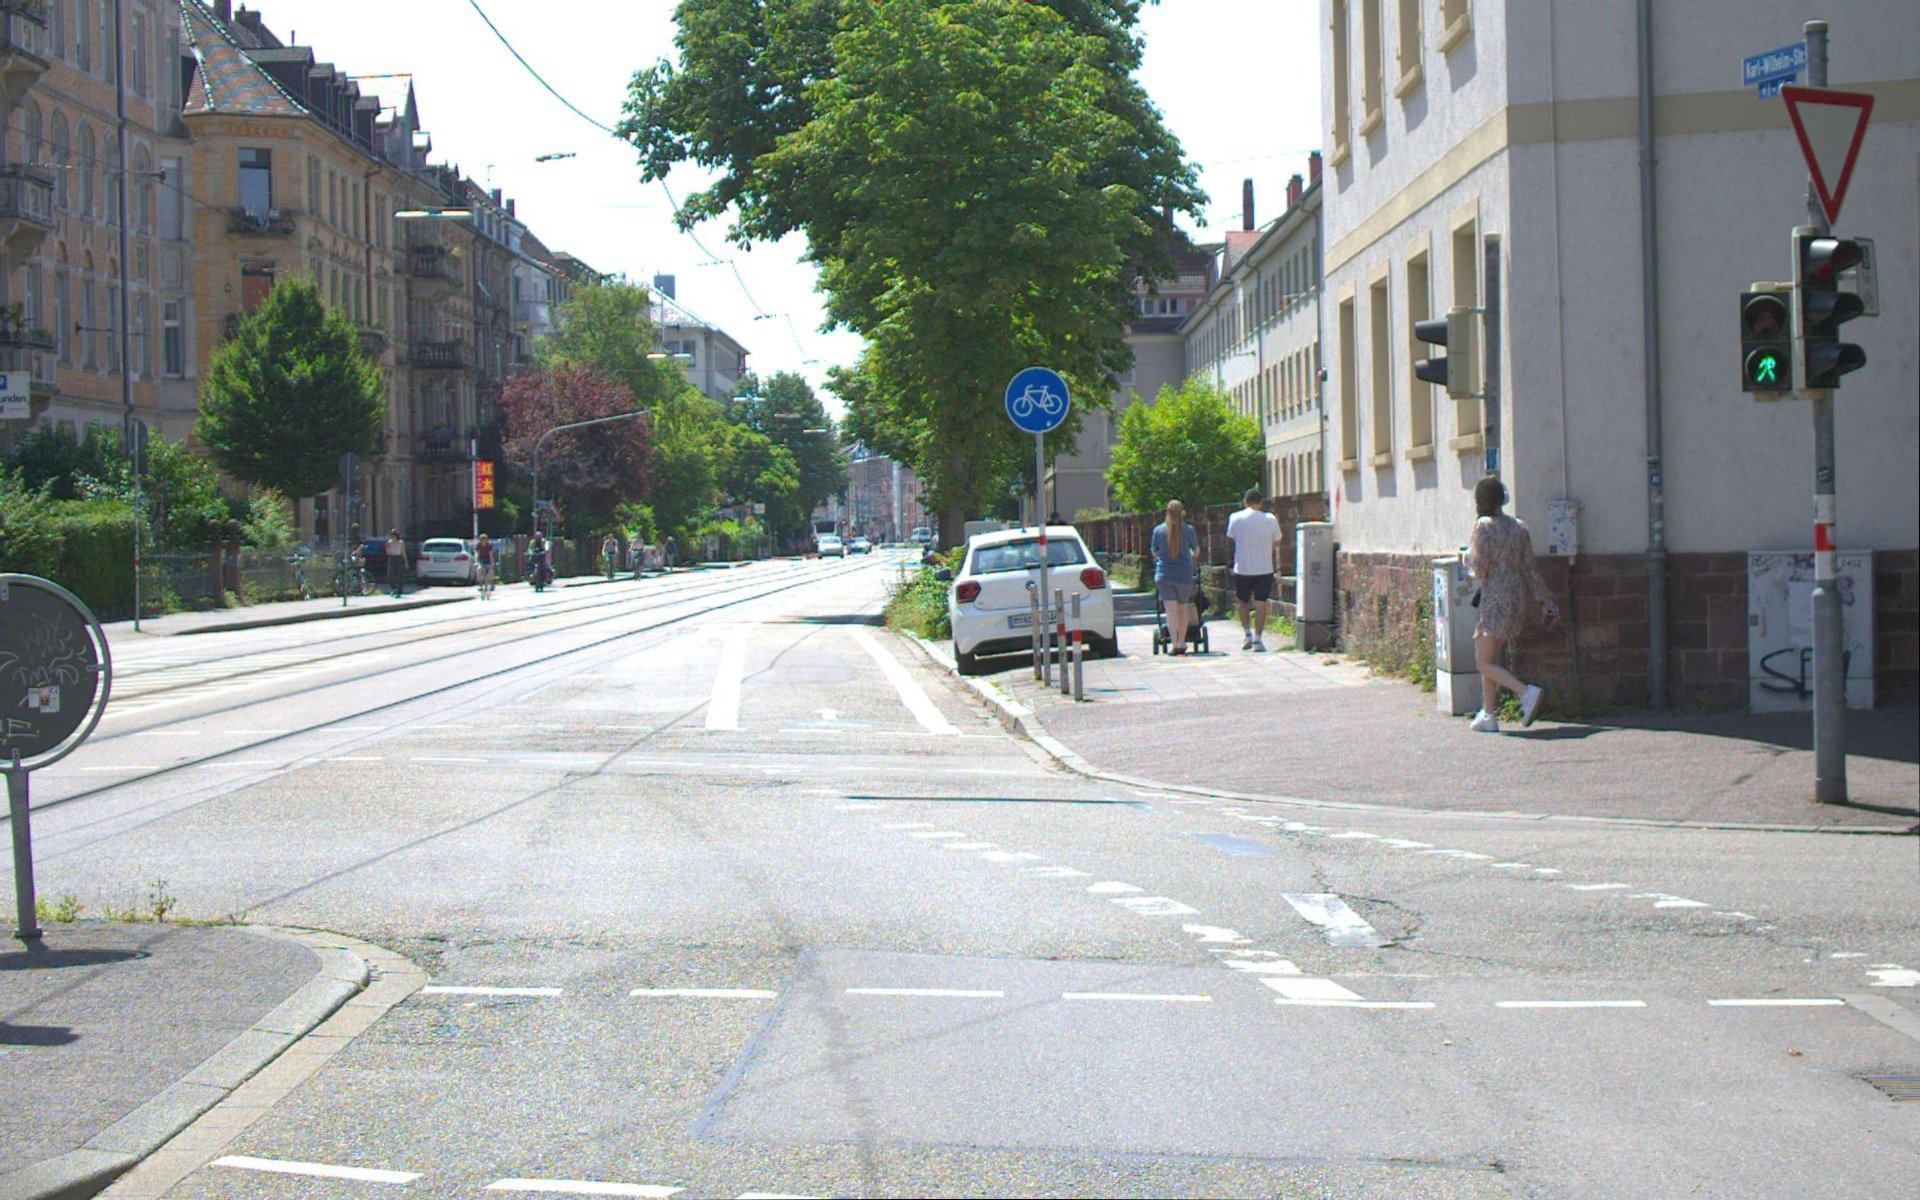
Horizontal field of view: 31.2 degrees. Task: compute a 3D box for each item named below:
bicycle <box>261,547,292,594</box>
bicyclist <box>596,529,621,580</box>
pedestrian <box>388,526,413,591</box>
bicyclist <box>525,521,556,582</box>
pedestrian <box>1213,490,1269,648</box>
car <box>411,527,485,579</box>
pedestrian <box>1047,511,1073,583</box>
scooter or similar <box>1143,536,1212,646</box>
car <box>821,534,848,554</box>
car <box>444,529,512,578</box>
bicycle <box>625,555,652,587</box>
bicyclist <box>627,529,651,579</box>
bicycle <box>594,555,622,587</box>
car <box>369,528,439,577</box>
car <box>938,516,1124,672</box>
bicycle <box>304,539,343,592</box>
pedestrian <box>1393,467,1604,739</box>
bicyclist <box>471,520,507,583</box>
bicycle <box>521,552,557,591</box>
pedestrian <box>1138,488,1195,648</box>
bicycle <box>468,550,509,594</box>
[{"bbox_3d":[-15.911,-0.700,80.035,0.677,1.061,1.919,-1,1,-11],"label":"bicycle"},{"bbox_3d":[-12.704,-1.634,124.203,0.727,1.812,1.079,1,0,1],"label":"bicyclist"},{"bbox_3d":[-14.413,-1.081,88.599,0.521,1.653,0.529,-1,1,-1],"label":"pedestrian"},{"bbox_3d":[-12.276,-1.408,100.635,0.727,1.762,1.079,1,0,1],"label":"bicyclist"},{"bbox_3d":[2.960,-0.326,36.199,0.557,1.640,0.677,1,0,5],"label":"pedestrian"},{"bbox_3d":[-17.196,-1.578,115.574,1.919,1.709,4.000,1,1,-1],"label":"car"},{"bbox_3d":[2.171,-1.147,74.531,0.521,1.557,0.573,-1,1,-1],"label":"pedestrian"},{"bbox_3d":[2.334,-0.099,36.811,0.557,1.151,1.204,1,0,12],"label":"scooter or similar"},{"bbox_3d":[-8.467,-3.756,231.604,1.706,1.273,4.000,1,1,-1],"label":"car"},{"bbox_3d":[-17.340,-1.664,123.838,1.919,1.709,4.000,1,1,-1],"label":"car"},{"bbox_3d":[-11.615,-1.058,124.318,0.727,1.119,2.085,1,1,1],"label":"bicycle"},{"bbox_3d":[-11.620,-1.661,124.349,0.727,1.812,1.079,1,0,1],"label":"bicyclist"},{"bbox_3d":[-12.716,-1.045,124.214,0.727,1.119,2.085,1,1,1],"label":"bicycle"},{"bbox_3d":[-20.026,-1.702,123.911,1.919,1.709,4.000,1,1,-1],"label":"car"},{"bbox_3d":[0.714,-0.083,37.316,1.815,1.511,4.000,-3,1,-1],"label":"car"},{"bbox_3d":[-15.668,-0.850,84.677,0.677,1.274,1.919,-1,1,-3],"label":"bicycle"},{"bbox_3d":[3.524,0.018,22.513,0.652,1.684,1.057,-9,5,-37],"label":"pedestrian"},{"bbox_3d":[-12.273,-1.261,89.598,0.727,1.623,1.079,1,0,1],"label":"bicyclist"},{"bbox_3d":[-12.302,-0.847,100.548,0.727,1.119,2.085,1,1,1],"label":"bicycle"},{"bbox_3d":[2.158,-0.334,35.868,0.557,1.640,0.677,1,0,5],"label":"pedestrian"},{"bbox_3d":[-12.271,-0.737,89.597,0.727,1.119,2.085,1,1,1],"label":"bicycle"}]
